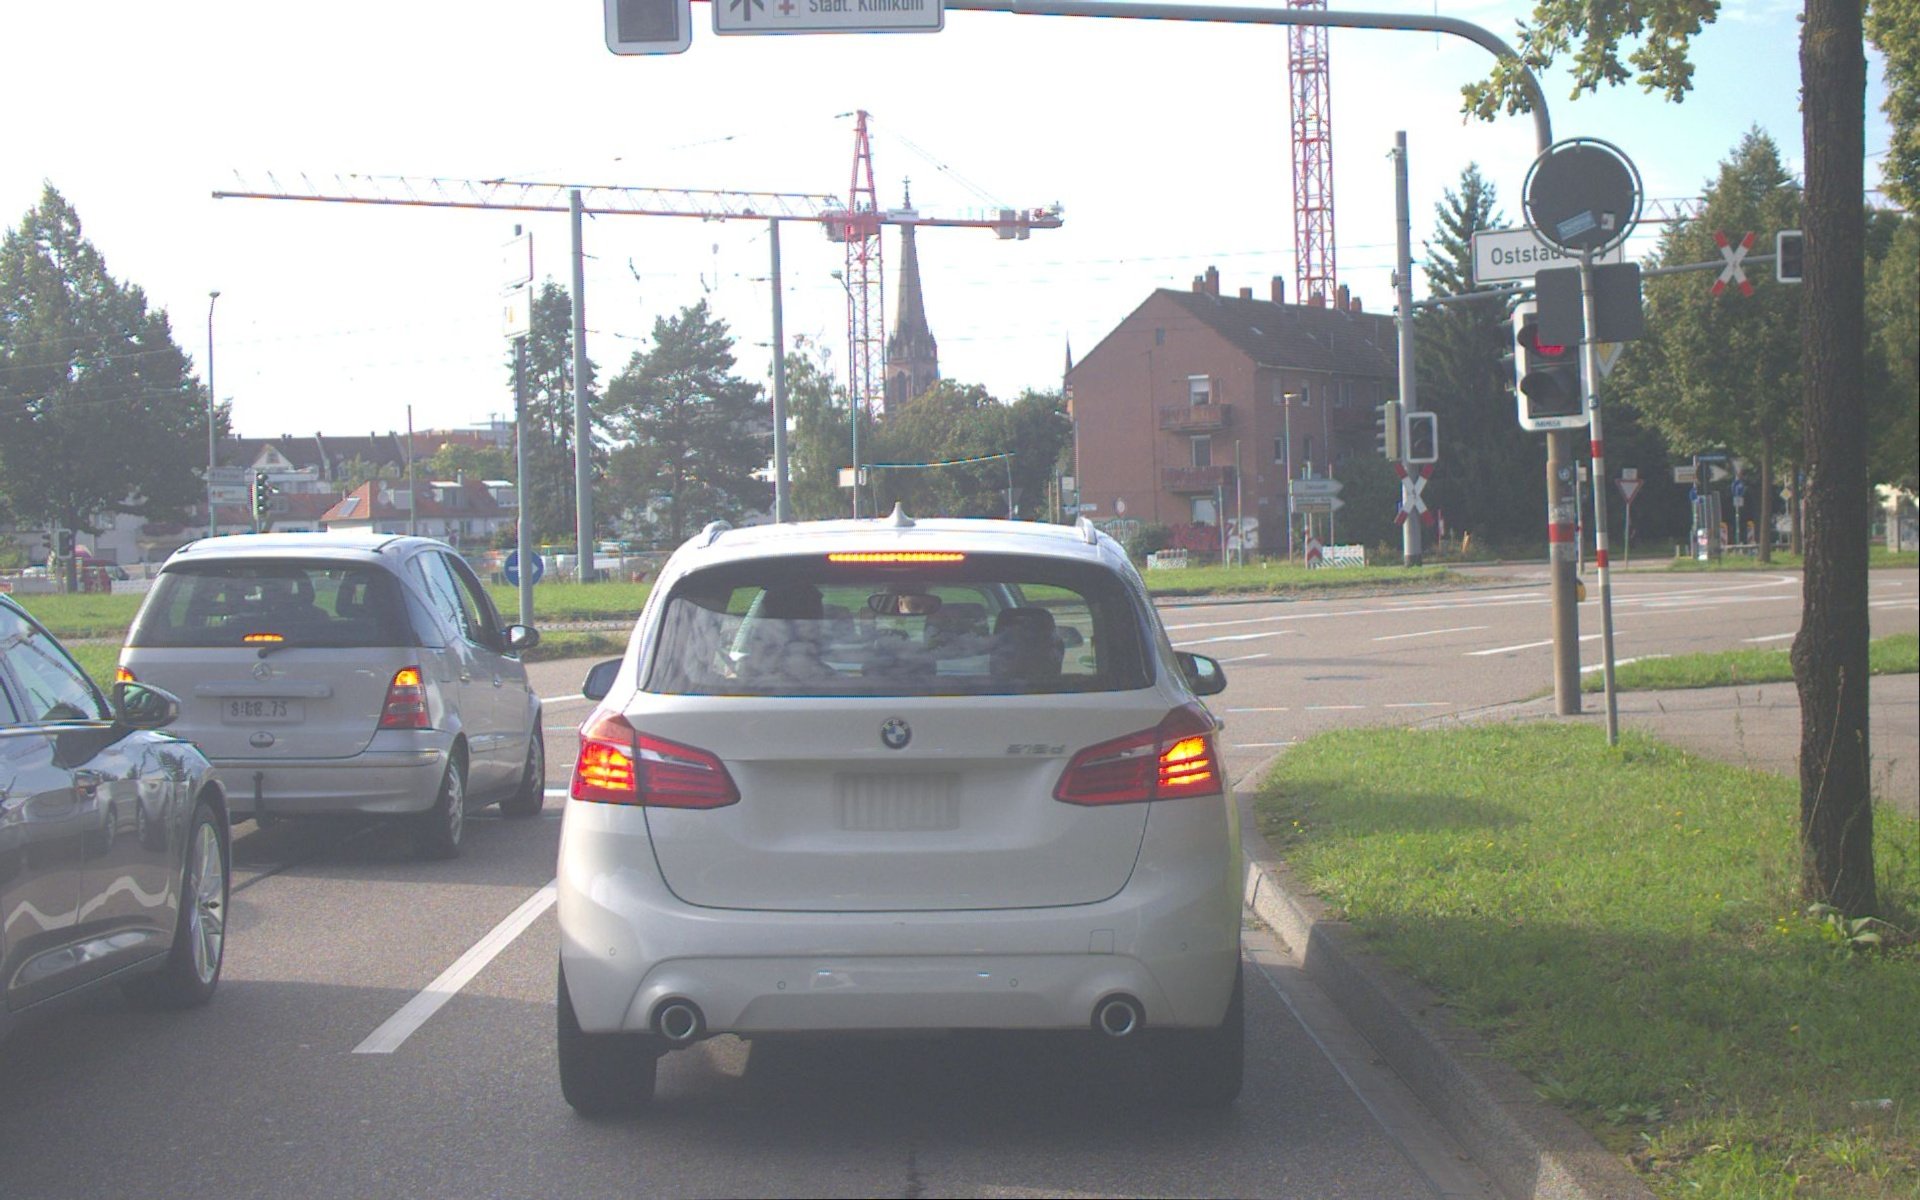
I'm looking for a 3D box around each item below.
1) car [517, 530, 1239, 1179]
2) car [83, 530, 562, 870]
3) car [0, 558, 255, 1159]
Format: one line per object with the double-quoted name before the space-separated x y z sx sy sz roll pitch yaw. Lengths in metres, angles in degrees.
"car" -0.223 0.575 10.283 1.729 1.553 4.058 0 1 -1
"car" -3.148 0.421 17.739 1.729 1.553 4.058 0 1 0
"car" -3.320 0.629 9.405 1.890 1.478 4.613 0 1 -1
